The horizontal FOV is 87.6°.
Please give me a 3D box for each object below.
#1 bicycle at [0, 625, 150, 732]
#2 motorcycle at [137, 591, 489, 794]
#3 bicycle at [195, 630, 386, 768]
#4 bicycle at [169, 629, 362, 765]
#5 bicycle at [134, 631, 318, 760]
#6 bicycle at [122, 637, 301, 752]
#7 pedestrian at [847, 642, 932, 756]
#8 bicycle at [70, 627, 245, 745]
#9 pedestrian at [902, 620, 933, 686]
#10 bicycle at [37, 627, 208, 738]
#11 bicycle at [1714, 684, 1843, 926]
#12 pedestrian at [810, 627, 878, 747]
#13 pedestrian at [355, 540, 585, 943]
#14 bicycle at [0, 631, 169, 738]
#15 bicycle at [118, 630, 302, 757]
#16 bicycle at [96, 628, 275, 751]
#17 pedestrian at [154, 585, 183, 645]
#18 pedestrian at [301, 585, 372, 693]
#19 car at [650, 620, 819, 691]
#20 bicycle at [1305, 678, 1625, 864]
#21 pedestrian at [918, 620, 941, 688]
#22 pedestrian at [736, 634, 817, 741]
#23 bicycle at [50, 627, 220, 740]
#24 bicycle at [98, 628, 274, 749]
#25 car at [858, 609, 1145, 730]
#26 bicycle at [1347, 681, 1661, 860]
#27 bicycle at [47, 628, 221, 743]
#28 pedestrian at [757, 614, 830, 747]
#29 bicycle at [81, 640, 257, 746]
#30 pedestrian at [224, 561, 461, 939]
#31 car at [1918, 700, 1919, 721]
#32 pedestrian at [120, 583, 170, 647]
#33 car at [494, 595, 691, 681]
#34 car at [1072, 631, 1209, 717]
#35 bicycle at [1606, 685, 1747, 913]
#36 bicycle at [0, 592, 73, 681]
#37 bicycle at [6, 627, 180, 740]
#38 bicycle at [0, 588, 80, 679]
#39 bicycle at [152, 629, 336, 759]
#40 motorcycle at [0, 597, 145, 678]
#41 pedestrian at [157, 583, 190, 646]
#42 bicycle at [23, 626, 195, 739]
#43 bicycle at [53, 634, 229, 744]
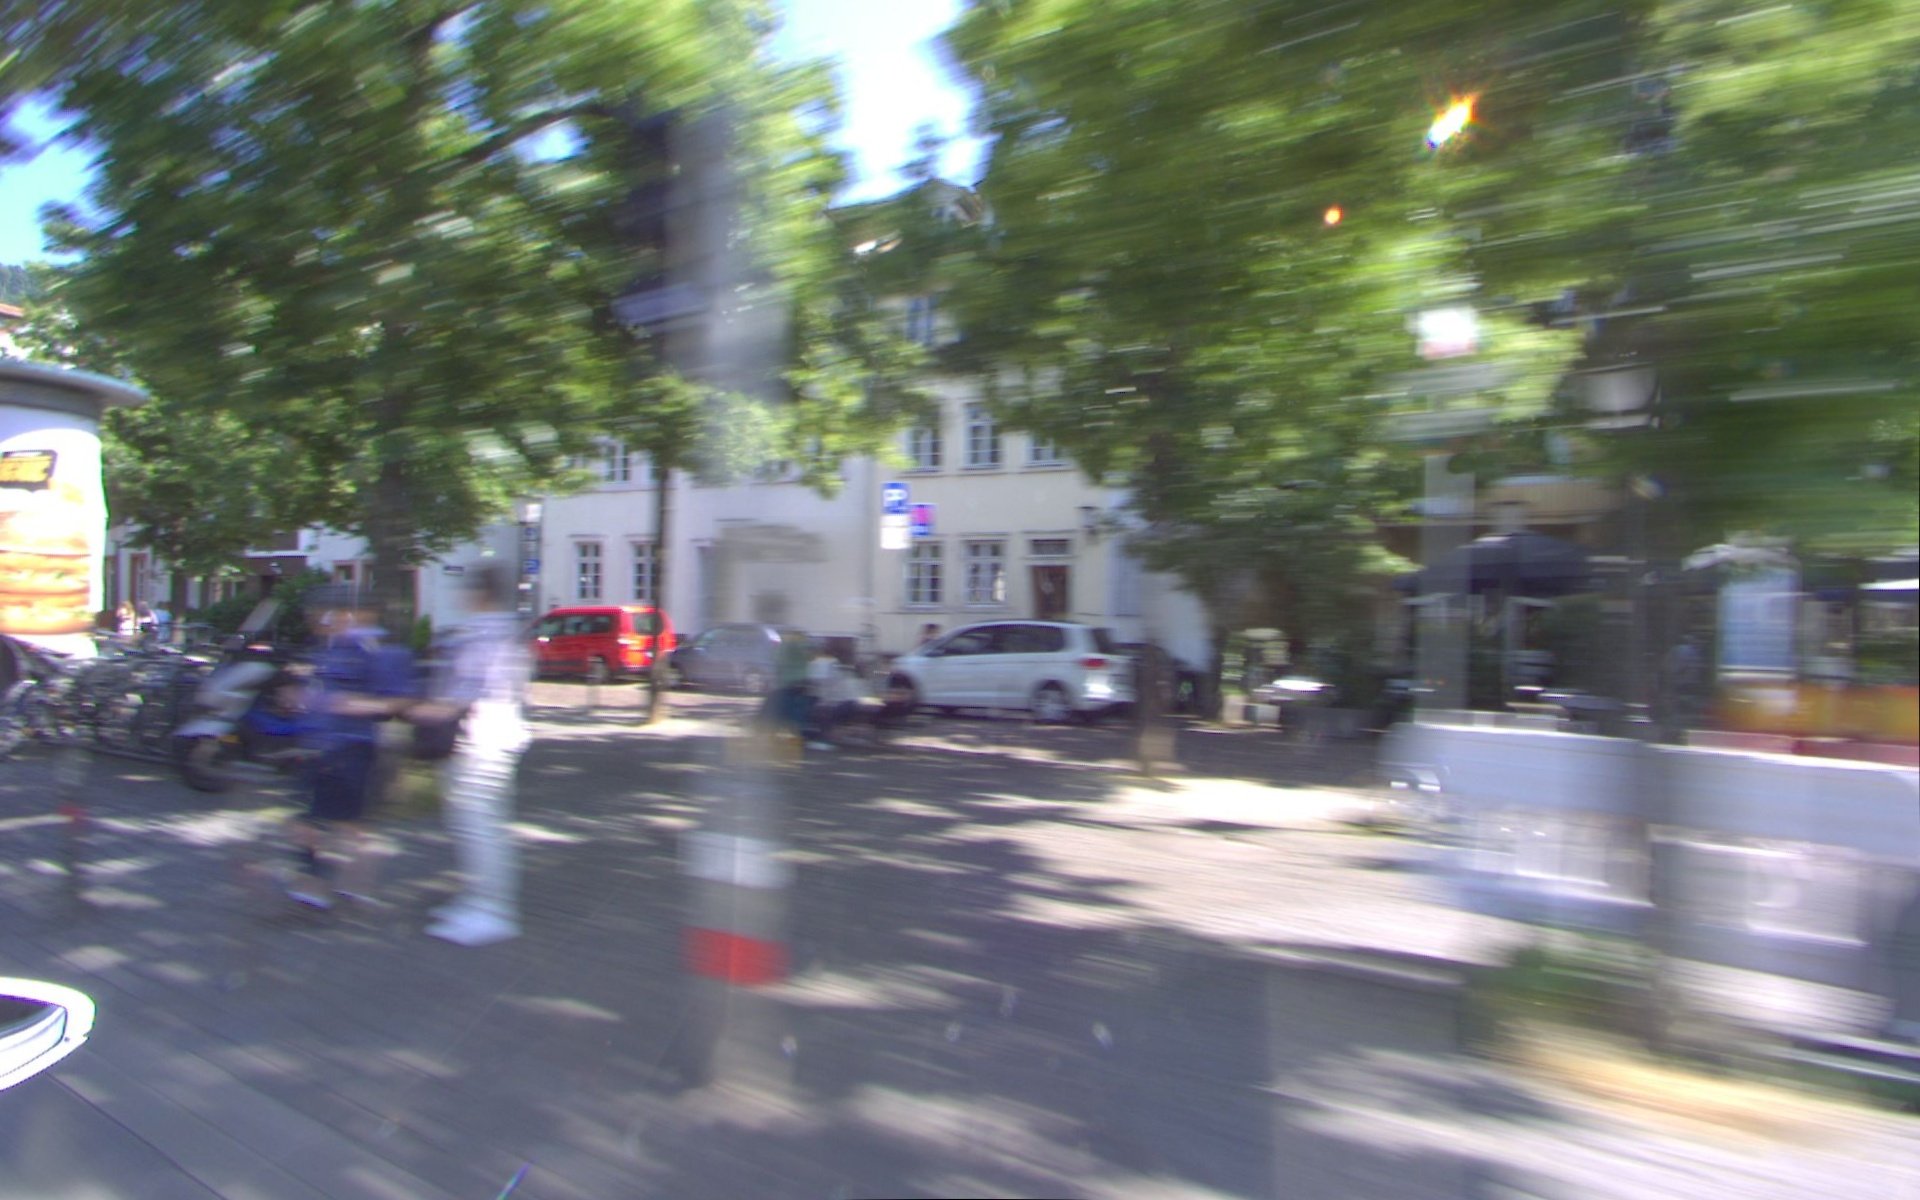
[{"bbox_3d":[-10.203,0.872,11.460,0.247,1.147,1.485,0,-1,24],"label":"bicycle"},{"bbox_3d":[-5.085,0.690,8.073,2.259,1.484,0.763,0,-1,-20],"label":"motorcycle"},{"bbox_3d":[-6.028,0.847,9.098,0.289,1.134,1.483,0,0,28],"label":"bicycle"},{"bbox_3d":[-6.368,0.843,9.262,0.372,1.134,1.484,0,0,25],"label":"bicycle"},{"bbox_3d":[-7.034,0.875,9.674,0.289,1.134,1.484,0,0,24],"label":"bicycle"},{"bbox_3d":[-7.472,0.908,10.070,0.289,1.045,1.484,0,0,24],"label":"bicycle"},{"bbox_3d":[-0.824,1.145,11.818,0.751,1.268,0.694,1,-1,22],"label":"pedestrian"},{"bbox_3d":[-8.379,0.862,10.520,0.247,1.134,1.484,0,0,24],"label":"bicycle"},{"bbox_3d":[-1.032,1.302,24.554,0.530,1.582,0.570,1,-2,22],"label":"pedestrian"},{"bbox_3d":[-9.180,0.869,11.038,0.247,1.134,1.484,0,0,24],"label":"bicycle"},{"bbox_3d":[5.005,1.144,6.077,0.516,1.213,1.990,1,-4,42],"label":"bicycle"},{"bbox_3d":[-1.408,1.052,12.227,0.532,1.399,0.627,1,-3,22],"label":"pedestrian"},{"bbox_3d":[-2.385,0.629,4.917,0.751,1.795,0.694,1,1,22],"label":"pedestrian"},{"bbox_3d":[-9.898,0.929,11.365,0.247,1.134,1.485,0,-1,24],"label":"bicycle"},{"bbox_3d":[-7.289,0.871,9.806,0.289,1.134,1.484,0,0,24],"label":"bicycle"},{"bbox_3d":[-7.739,0.856,10.078,0.247,1.134,1.484,0,0,24],"label":"bicycle"},{"bbox_3d":[-27.132,0.506,34.327,0.587,2.039,0.585,0,-1,29],"label":"pedestrian"},{"bbox_3d":[-9.978,0.616,16.030,0.696,1.674,0.706,1,-1,32],"label":"pedestrian"},{"bbox_3d":[-5.043,1.201,22.401,3.417,1.450,1.674,0,-2,28],"label":"car"},{"bbox_3d":[3.636,1.170,7.394,0.589,1.081,2.047,1,-1,-40],"label":"bicycle"},{"bbox_3d":[-0.720,1.258,23.622,0.399,1.583,0.411,1,1,22],"label":"pedestrian"},{"bbox_3d":[-2.325,1.102,12.741,0.741,1.297,0.627,1,-3,22],"label":"pedestrian"},{"bbox_3d":[-8.976,0.873,10.962,0.247,1.134,1.484,0,0,24],"label":"bicycle"},{"bbox_3d":[-7.915,0.869,10.308,0.247,1.134,1.484,0,0,24],"label":"bicycle"},{"bbox_3d":[0.654,1.090,16.878,4.498,1.750,1.768,1,-2,30],"label":"car"},{"bbox_3d":[4.074,1.220,7.673,0.589,1.081,2.047,1,-1,-40],"label":"bicycle"},{"bbox_3d":[-8.808,0.871,10.742,0.247,1.134,1.484,0,0,24],"label":"bicycle"},{"bbox_3d":[-1.981,0.945,11.949,0.678,1.536,0.459,1,-2,22],"label":"pedestrian"},{"bbox_3d":[-8.167,0.931,10.404,0.247,0.992,1.484,0,0,24],"label":"bicycle"},{"bbox_3d":[-3.040,0.674,4.961,0.751,1.700,0.694,1,1,22],"label":"pedestrian"},{"bbox_3d":[22.056,1.978,20.558,1.818,1.617,3.994,6,1,19],"label":"car"},{"bbox_3d":[-25.403,0.474,31.219,0.736,1.939,0.967,0,-1,31],"label":"pedestrian"},{"bbox_3d":[-9.065,0.895,24.652,4.560,1.926,1.993,1,-1,28],"label":"car"},{"bbox_3d":[3.666,1.396,19.888,1.596,1.451,3.740,3,-1,27],"label":"car"},{"bbox_3d":[4.622,1.167,6.403,0.516,1.213,2.003,1,-3,42],"label":"bicycle"},{"bbox_3d":[-16.257,0.627,17.065,0.265,1.502,1.705,0,-1,28],"label":"bicycle"},{"bbox_3d":[-9.649,0.893,11.206,0.247,1.135,1.483,0,1,24],"label":"bicycle"},{"bbox_3d":[-15.818,0.559,16.690,0.265,1.502,1.721,0,-1,28],"label":"bicycle"},{"bbox_3d":[-6.770,0.848,9.547,0.289,1.134,1.484,0,0,24],"label":"bicycle"},{"bbox_3d":[-16.625,0.679,18.170,2.812,1.416,0.818,2,-1,-41],"label":"motorcycle"},{"bbox_3d":[-25.816,0.468,32.851,0.634,2.039,0.634,0,-1,31],"label":"pedestrian"},{"bbox_3d":[-9.388,0.873,11.111,0.247,1.135,1.484,0,1,24],"label":"bicycle"},{"bbox_3d":[-8.612,0.901,10.593,0.247,1.060,1.484,0,0,24],"label":"bicycle"}]
